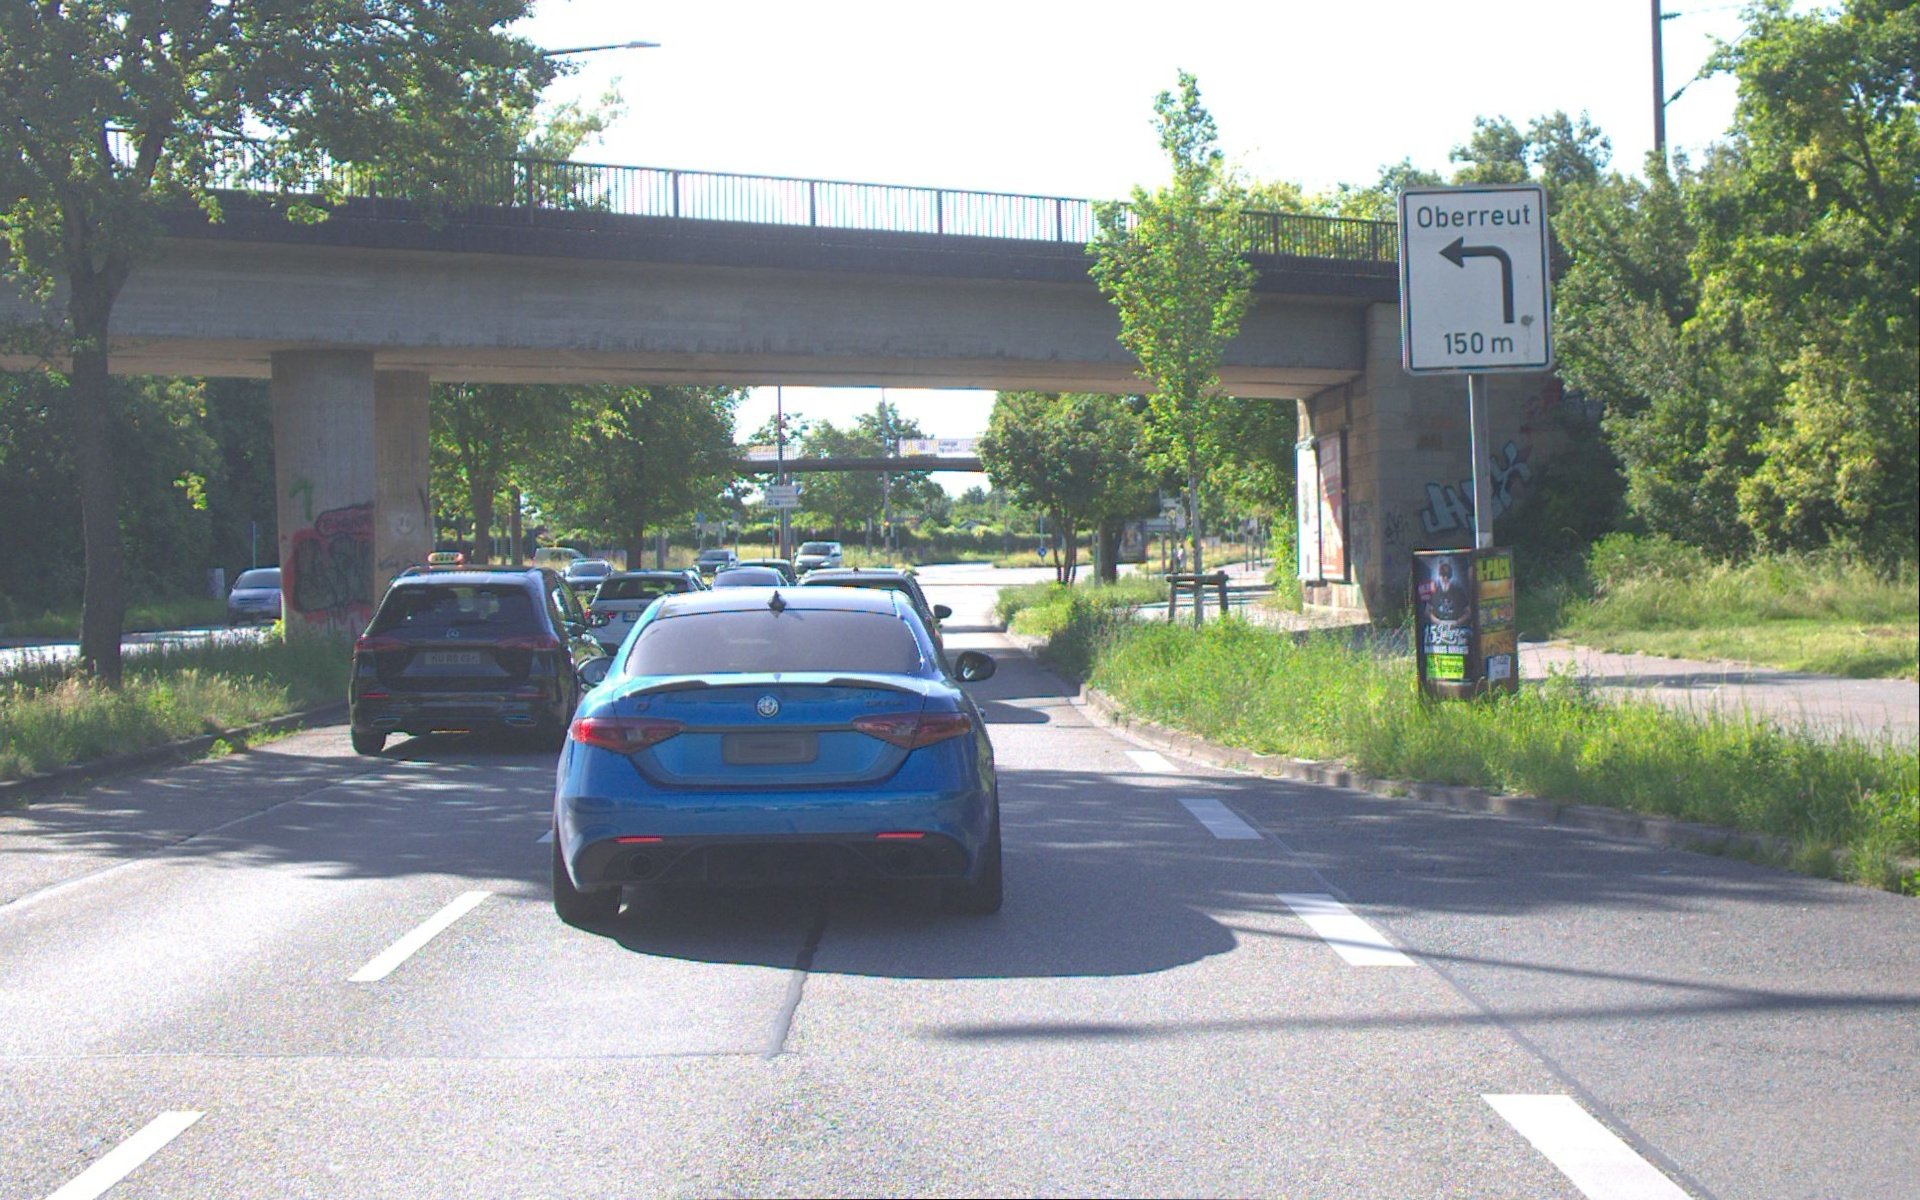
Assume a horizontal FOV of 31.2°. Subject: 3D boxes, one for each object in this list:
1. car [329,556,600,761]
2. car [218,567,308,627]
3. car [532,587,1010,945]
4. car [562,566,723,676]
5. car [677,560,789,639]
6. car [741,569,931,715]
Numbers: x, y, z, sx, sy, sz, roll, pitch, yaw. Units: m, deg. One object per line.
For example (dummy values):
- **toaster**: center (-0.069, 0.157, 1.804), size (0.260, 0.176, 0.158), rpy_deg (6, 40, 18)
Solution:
- **car**: center (-4.092, 0.445, 28.975), size (1.708, 1.592, 4.224), rpy_deg (0, 0, -1)
- **car**: center (-20.110, -0.092, 99.312), size (1.729, 1.611, 4.179), rpy_deg (-2, 0, 0)
- **car**: center (-0.770, 0.648, 15.696), size (1.883, 1.401, 4.224), rpy_deg (0, 0, -1)
- **car**: center (-4.388, 0.268, 48.080), size (1.883, 1.449, 4.526), rpy_deg (0, 0, -1)
- **car**: center (-4.315, -0.021, 65.902), size (1.883, 1.449, 4.526), rpy_deg (0, 0, -1)
- **car**: center (-1.256, 0.409, 36.509), size (1.883, 1.449, 4.526), rpy_deg (0, 0, -1)
